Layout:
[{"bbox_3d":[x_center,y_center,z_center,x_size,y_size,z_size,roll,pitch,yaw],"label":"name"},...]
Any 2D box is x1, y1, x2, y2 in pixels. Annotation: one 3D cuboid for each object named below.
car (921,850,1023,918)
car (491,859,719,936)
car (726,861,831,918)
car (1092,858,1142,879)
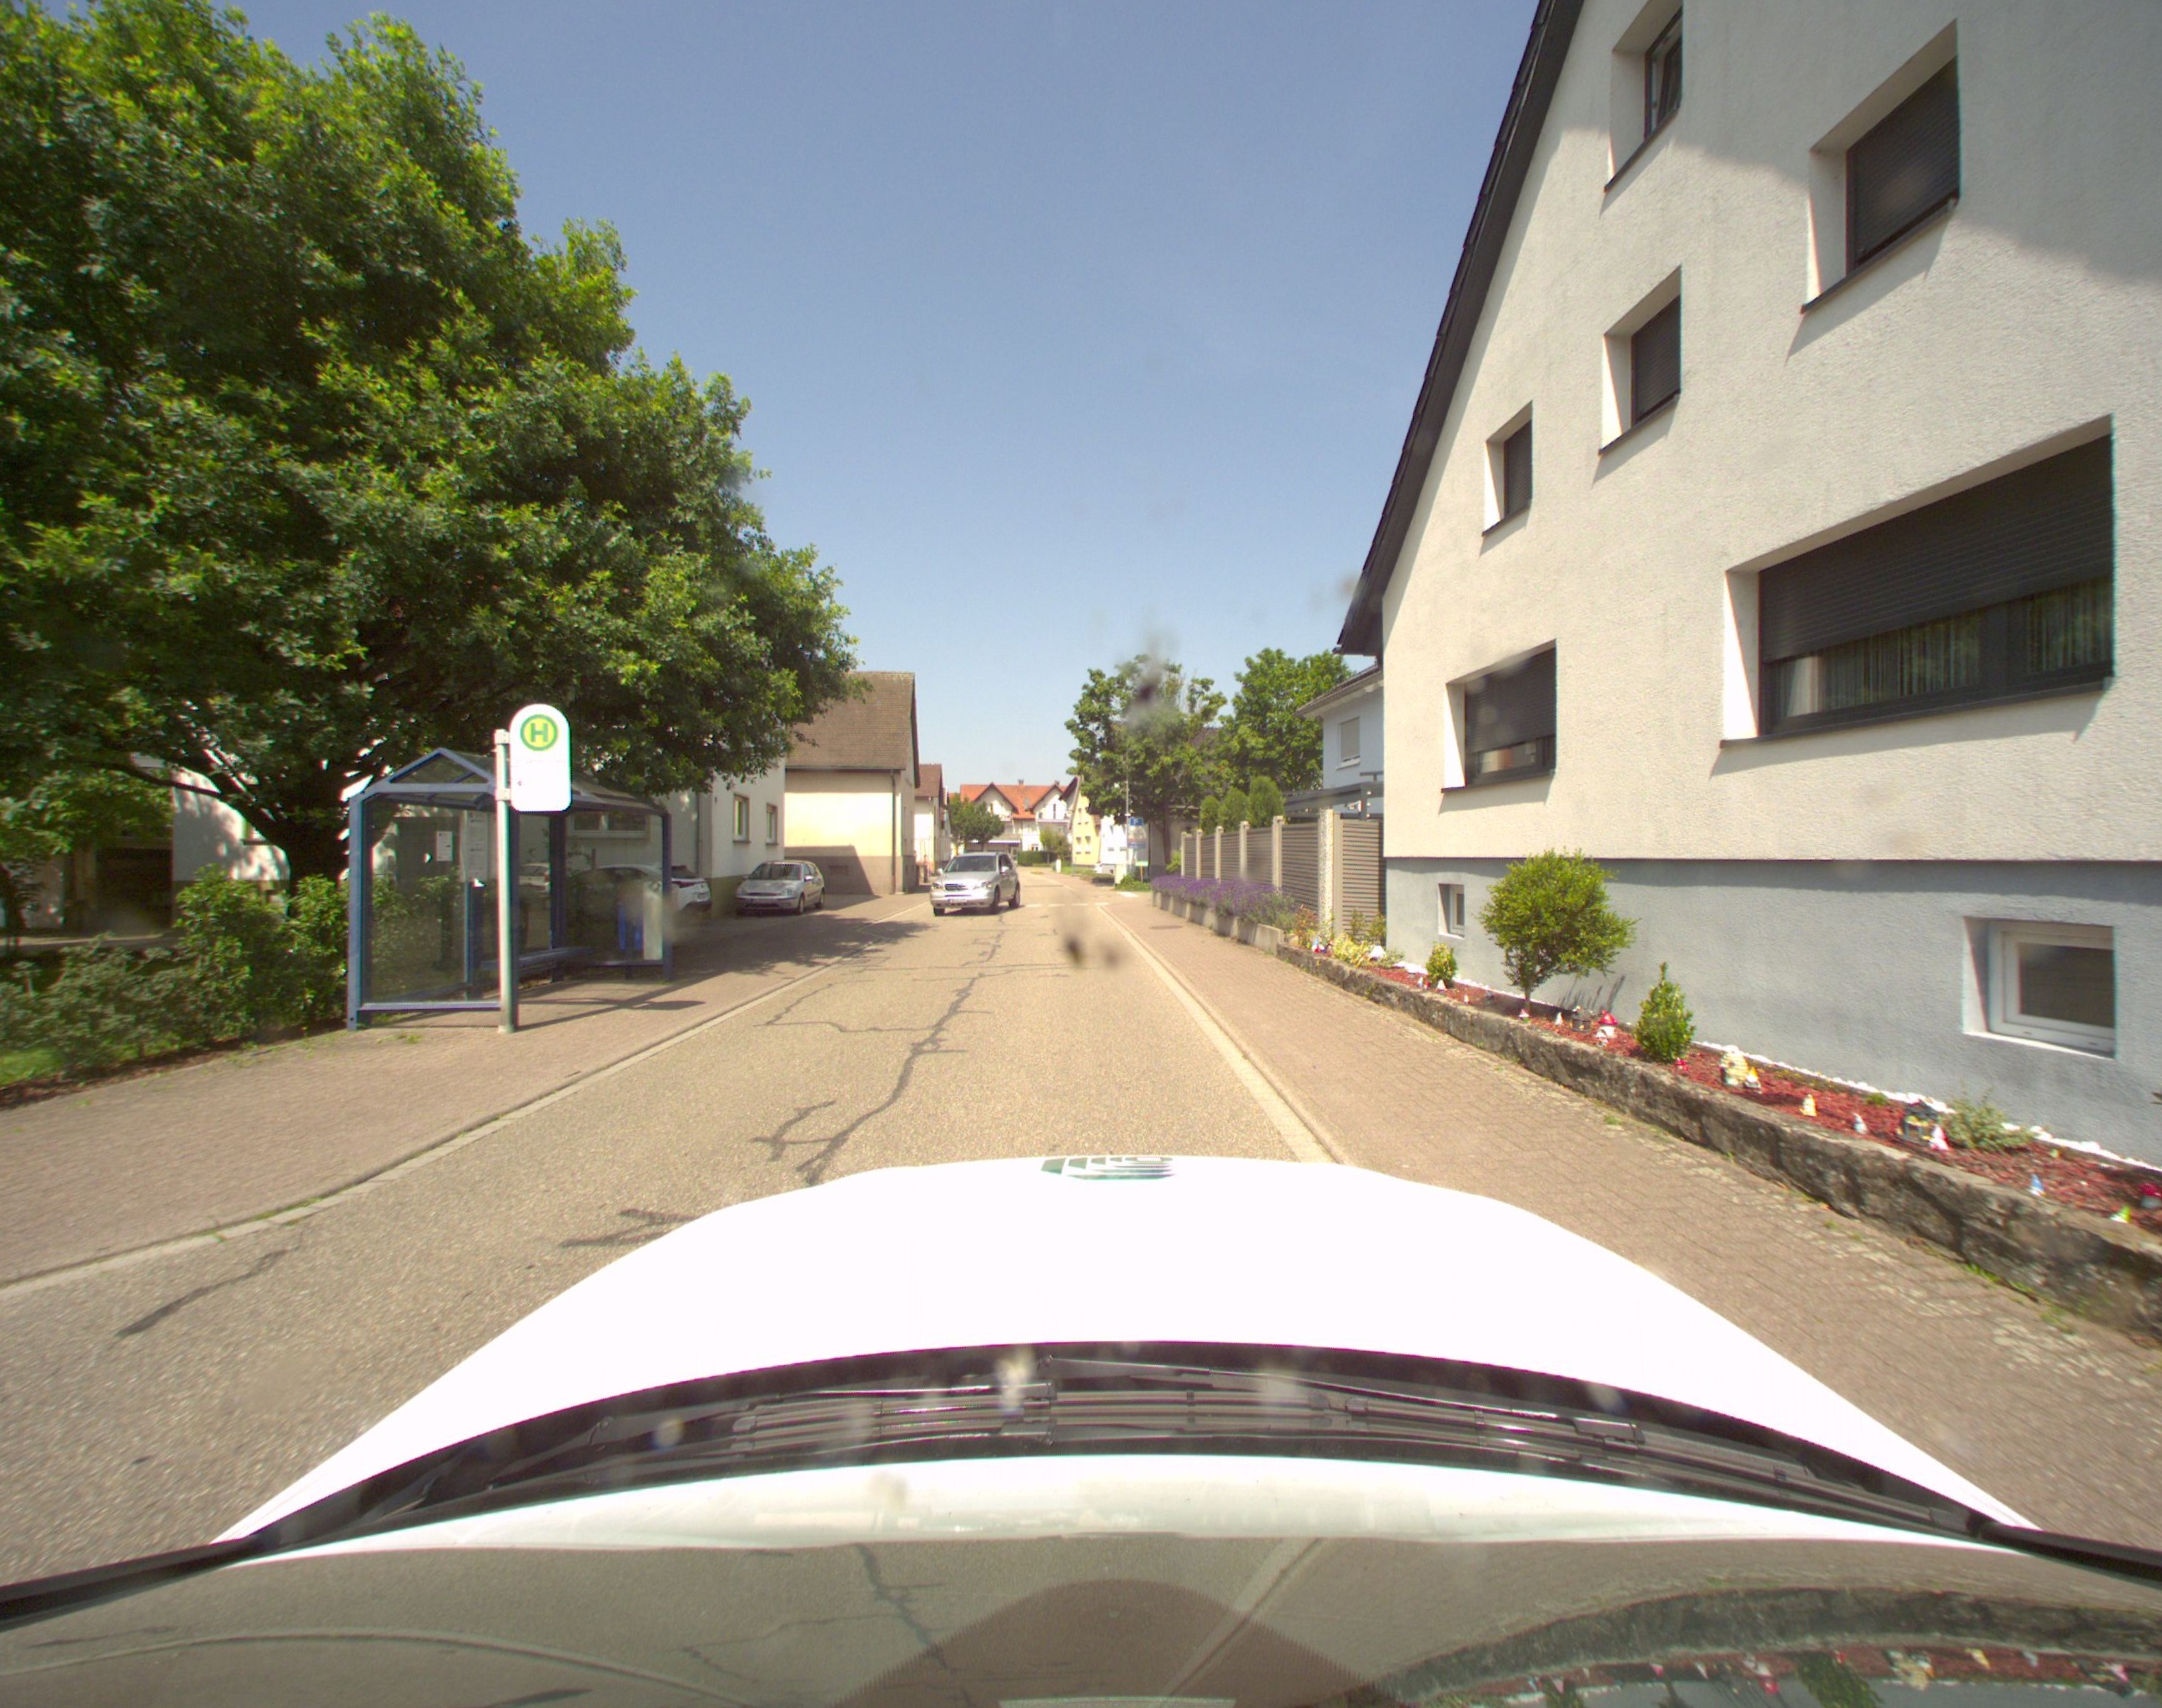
[{"bbox_3d":[-3.044,0.794,23.750,1.875,1.767,4.339,-1,0,7],"label":"car"},{"bbox_3d":[-10.895,0.961,18.902,4.152,1.538,1.771,-2,0,-5],"label":"car"},{"bbox_3d":[-8.423,0.924,23.068,1.776,1.435,4.048,0,0,-5],"label":"car"},{"bbox_3d":[2.404,0.945,54.106,3.047,1.345,1.416,-1,-1,-14],"label":"car"}]
